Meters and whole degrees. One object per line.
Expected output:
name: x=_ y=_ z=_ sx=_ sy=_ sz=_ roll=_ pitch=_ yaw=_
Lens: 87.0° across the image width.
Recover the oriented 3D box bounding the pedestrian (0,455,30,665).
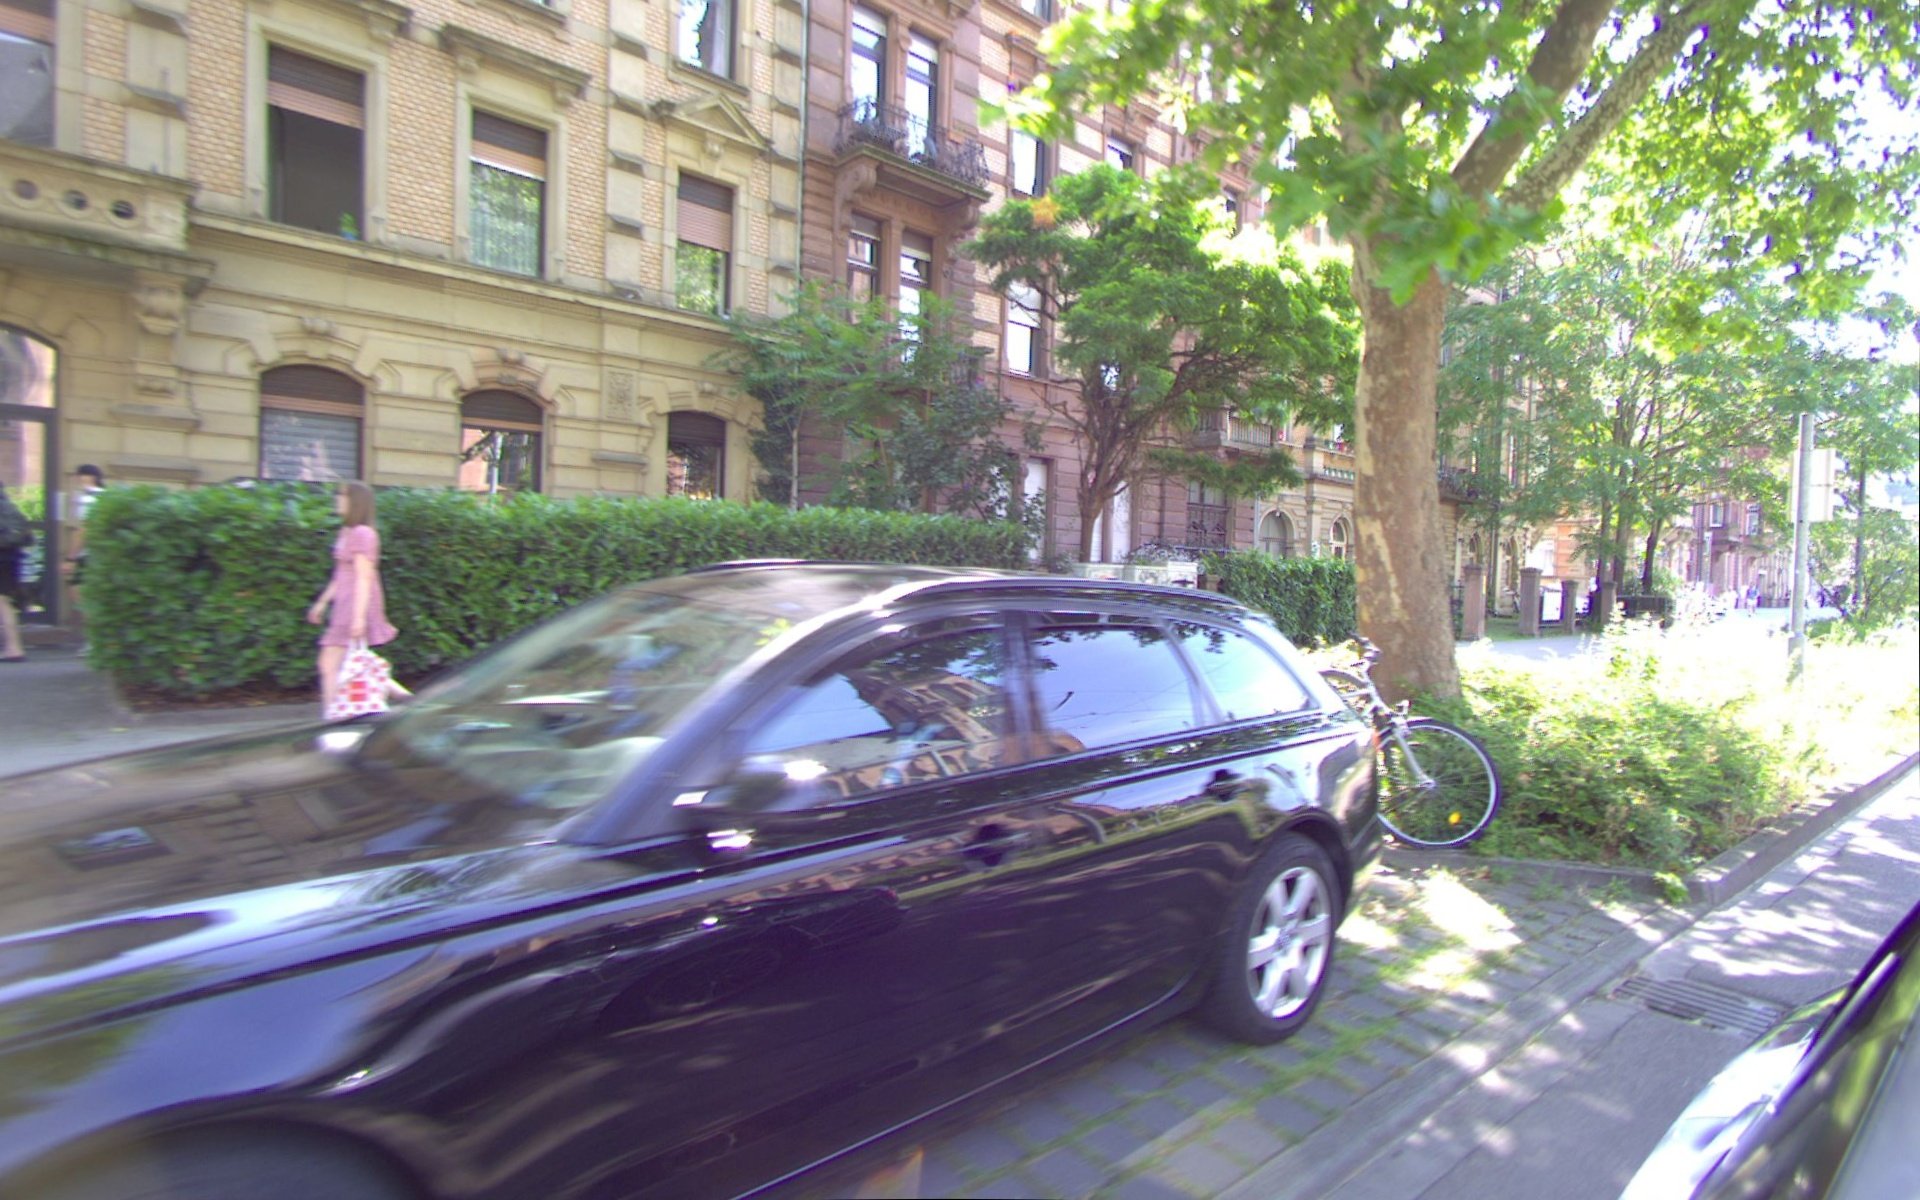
pedestrian: x=-8.949 y=-0.381 z=9.193 sx=0.726 sy=1.874 sz=0.851 roll=0 pitch=4 yaw=-43

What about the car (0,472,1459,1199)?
car: x=-0.483 y=0.574 z=2.912 sx=4.563 sy=1.526 sz=1.837 roll=0 pitch=2 yaw=-42

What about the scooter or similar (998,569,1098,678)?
scooter or similar: x=1.082 y=0.270 z=12.384 sx=1.125 sy=1.263 sz=0.583 roll=0 pitch=2 yaw=-42

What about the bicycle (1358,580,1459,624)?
bicycle: x=12.809 y=0.039 z=28.919 sx=2.559 sy=1.125 sz=0.765 roll=3 pitch=2 yaw=29

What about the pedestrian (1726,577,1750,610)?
pedestrian: x=41.656 y=-0.371 z=54.204 sx=0.951 sy=1.739 sz=0.796 roll=0 pitch=2 yaw=-42

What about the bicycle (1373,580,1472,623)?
bicycle: x=13.648 y=0.025 z=29.850 sx=2.559 sy=1.125 sz=1.101 roll=3 pitch=2 yaw=29

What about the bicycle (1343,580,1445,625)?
bicycle: x=12.064 y=0.045 z=28.173 sx=2.554 sy=1.125 sz=0.767 roll=2 pitch=2 yaw=25

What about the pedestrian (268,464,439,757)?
pedestrian: x=-4.068 y=0.043 z=6.786 sx=0.838 sy=1.806 sz=0.737 roll=0 pitch=4 yaw=-42

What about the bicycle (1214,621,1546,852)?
bicycle: x=2.265 y=0.712 z=5.634 sx=1.615 sy=1.102 sz=0.470 roll=2 pitch=1 yaw=16

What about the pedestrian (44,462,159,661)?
pedestrian: x=-8.271 y=-0.382 z=9.747 sx=0.849 sy=1.806 sz=0.727 roll=5 pitch=4 yaw=41

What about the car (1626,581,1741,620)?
car: x=32.691 y=-0.022 z=45.753 sx=4.075 sy=1.535 sz=1.861 roll=3 pitch=2 yaw=40

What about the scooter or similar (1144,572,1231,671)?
scooter or similar: x=3.164 y=0.281 z=14.068 sx=1.124 sy=1.298 sz=0.583 roll=0 pitch=2 yaw=-40
